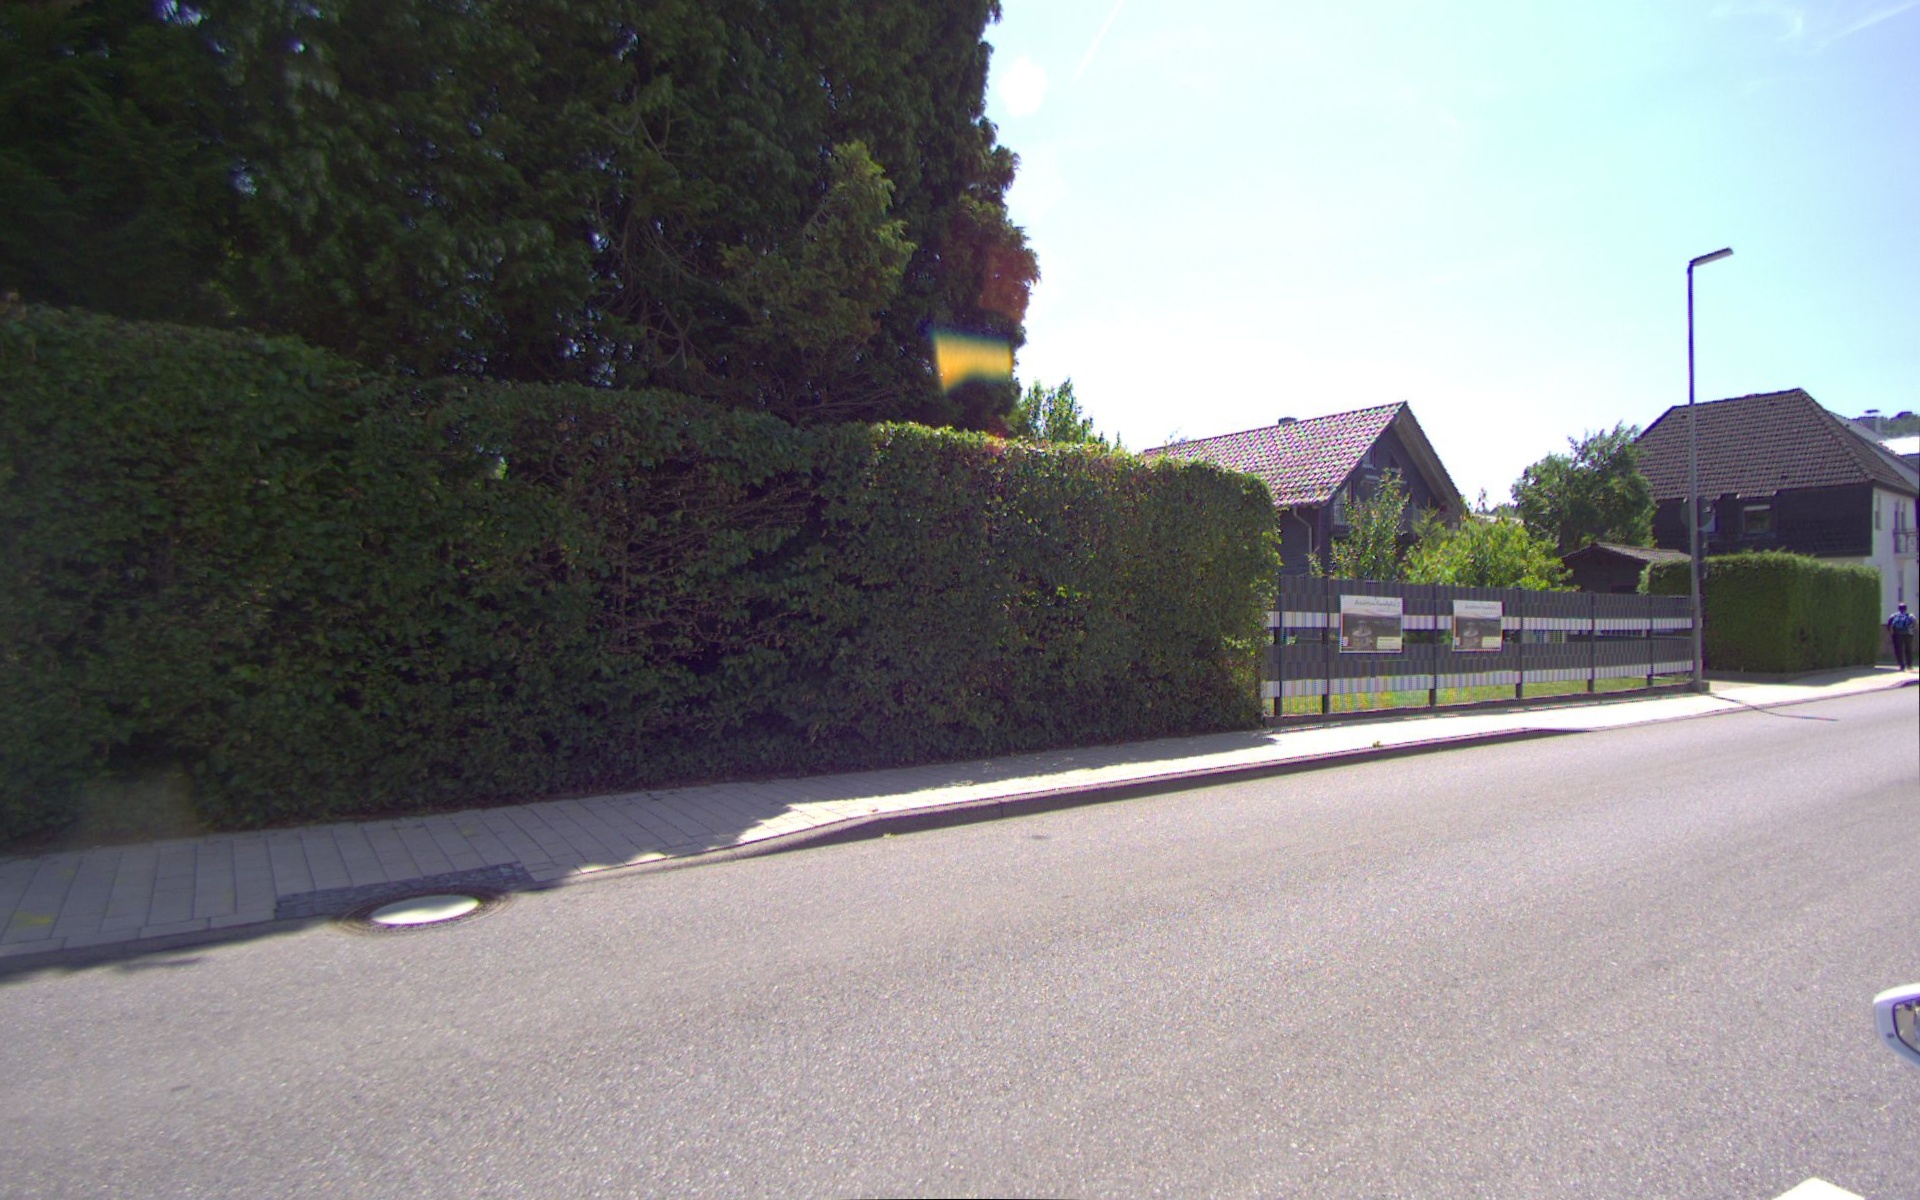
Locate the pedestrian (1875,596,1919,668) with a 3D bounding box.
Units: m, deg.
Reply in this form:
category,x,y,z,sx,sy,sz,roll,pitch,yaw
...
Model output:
category,x,y,z,sx,sy,sz,roll,pitch,yaw
pedestrian,24.745,0.837,26.537,0.891,1.847,0.706,2,0,-39
